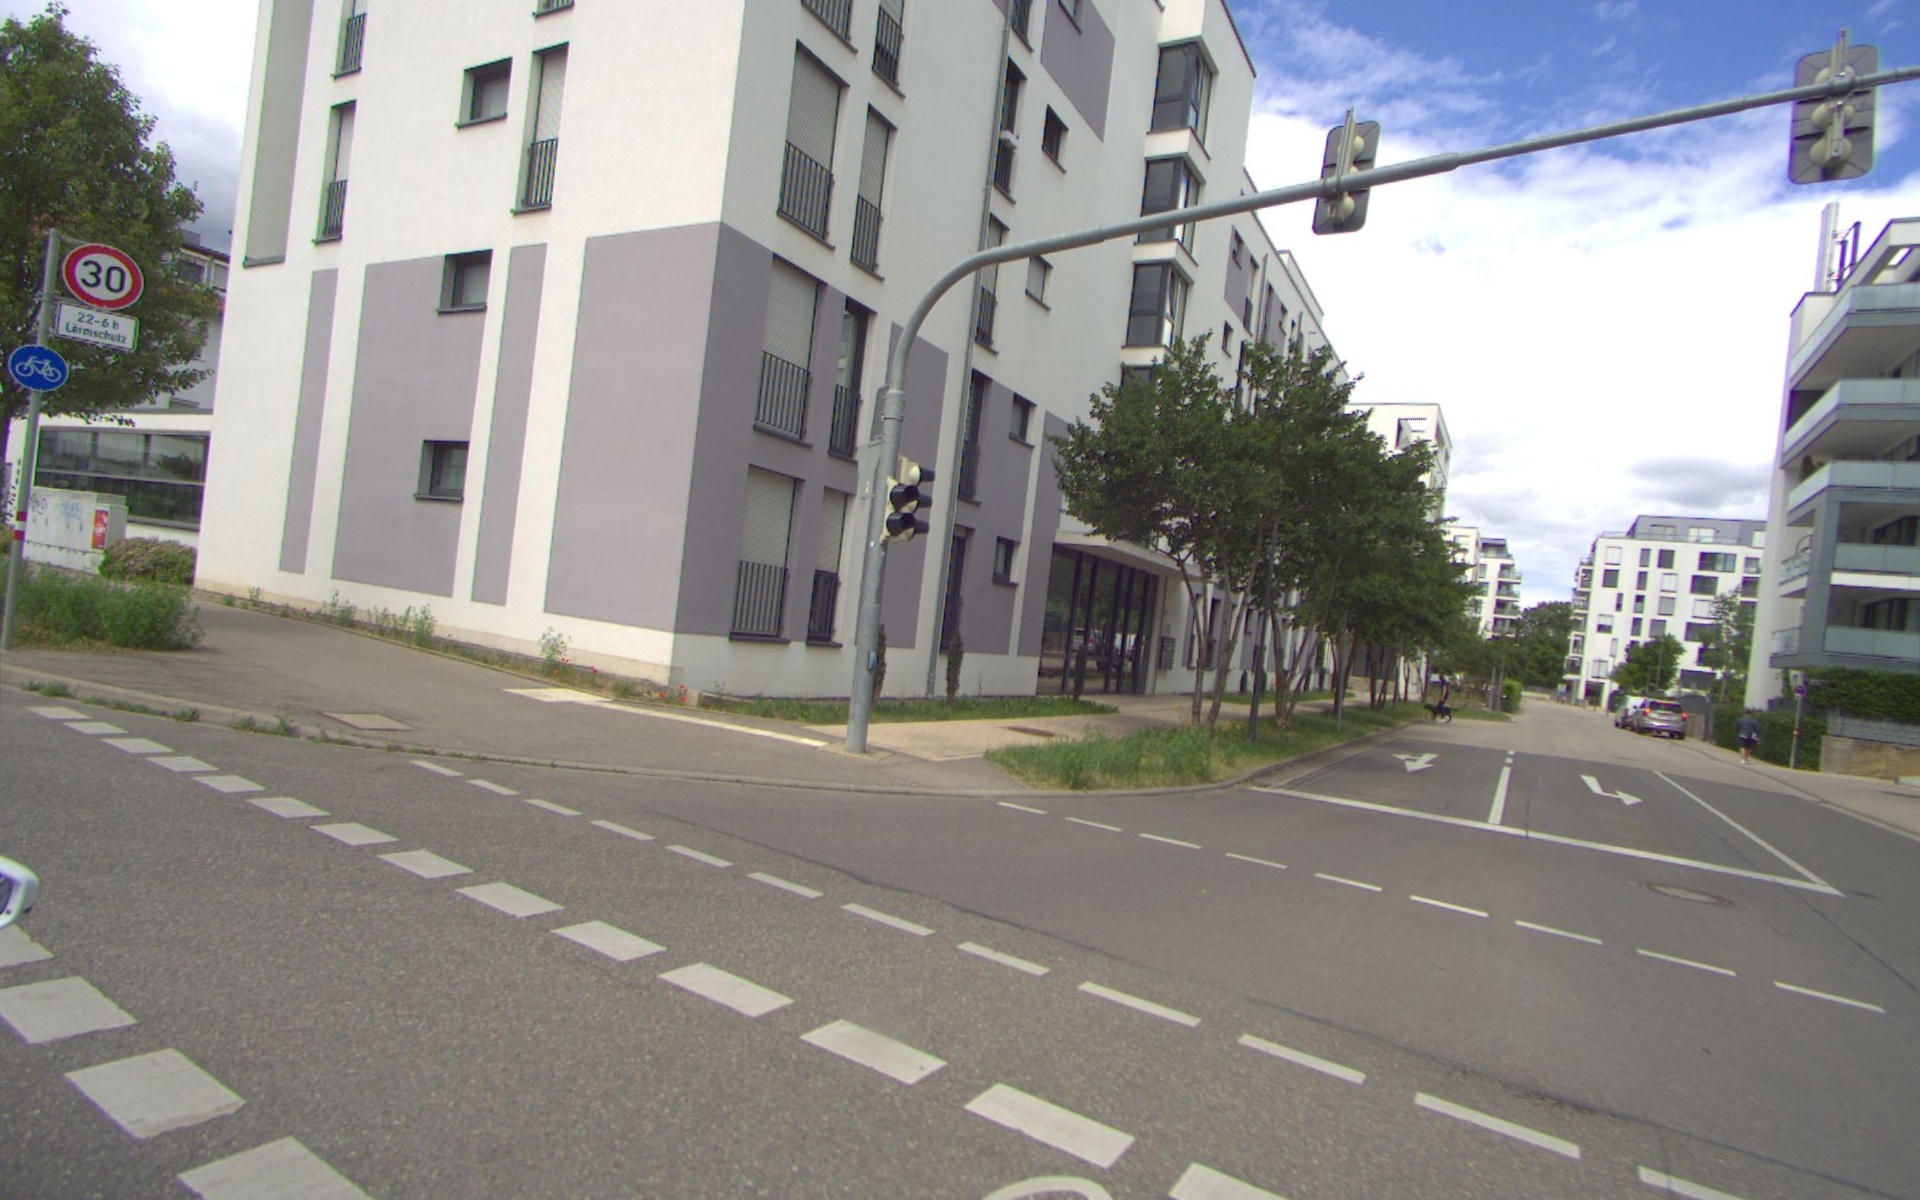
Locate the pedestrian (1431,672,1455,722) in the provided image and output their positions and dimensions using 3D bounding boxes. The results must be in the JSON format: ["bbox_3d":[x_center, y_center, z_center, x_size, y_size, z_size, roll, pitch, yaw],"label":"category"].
[{"bbox_3d":[18.216,3.673,37.953,0.621,1.794,0.607,5,-2,32],"label":"pedestrian"}]

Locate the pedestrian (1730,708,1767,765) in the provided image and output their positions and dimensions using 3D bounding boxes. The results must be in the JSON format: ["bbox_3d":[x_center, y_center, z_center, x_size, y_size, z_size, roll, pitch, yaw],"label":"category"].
[{"bbox_3d":[26.078,4.500,33.275,0.716,1.781,0.654,6,-2,27],"label":"pedestrian"}]

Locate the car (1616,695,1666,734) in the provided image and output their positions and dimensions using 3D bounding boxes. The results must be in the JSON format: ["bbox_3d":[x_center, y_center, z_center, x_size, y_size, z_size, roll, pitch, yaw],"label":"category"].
[{"bbox_3d":[37.520,6.339,55.473,1.967,1.802,3.996,5,-4,32],"label":"car"}]

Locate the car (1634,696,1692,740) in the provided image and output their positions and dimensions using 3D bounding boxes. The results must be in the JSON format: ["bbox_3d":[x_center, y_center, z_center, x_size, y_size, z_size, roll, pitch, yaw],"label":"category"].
[{"bbox_3d":[34.400,5.807,49.318,1.967,1.802,3.996,5,-4,32],"label":"car"}]

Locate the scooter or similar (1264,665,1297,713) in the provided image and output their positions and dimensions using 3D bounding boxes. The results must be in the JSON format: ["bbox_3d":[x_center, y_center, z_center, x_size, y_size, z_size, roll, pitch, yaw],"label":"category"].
[{"bbox_3d":[8.784,2.445,27.565,0.474,1.254,1.166,5,-2,32],"label":"scooter or similar"}]
